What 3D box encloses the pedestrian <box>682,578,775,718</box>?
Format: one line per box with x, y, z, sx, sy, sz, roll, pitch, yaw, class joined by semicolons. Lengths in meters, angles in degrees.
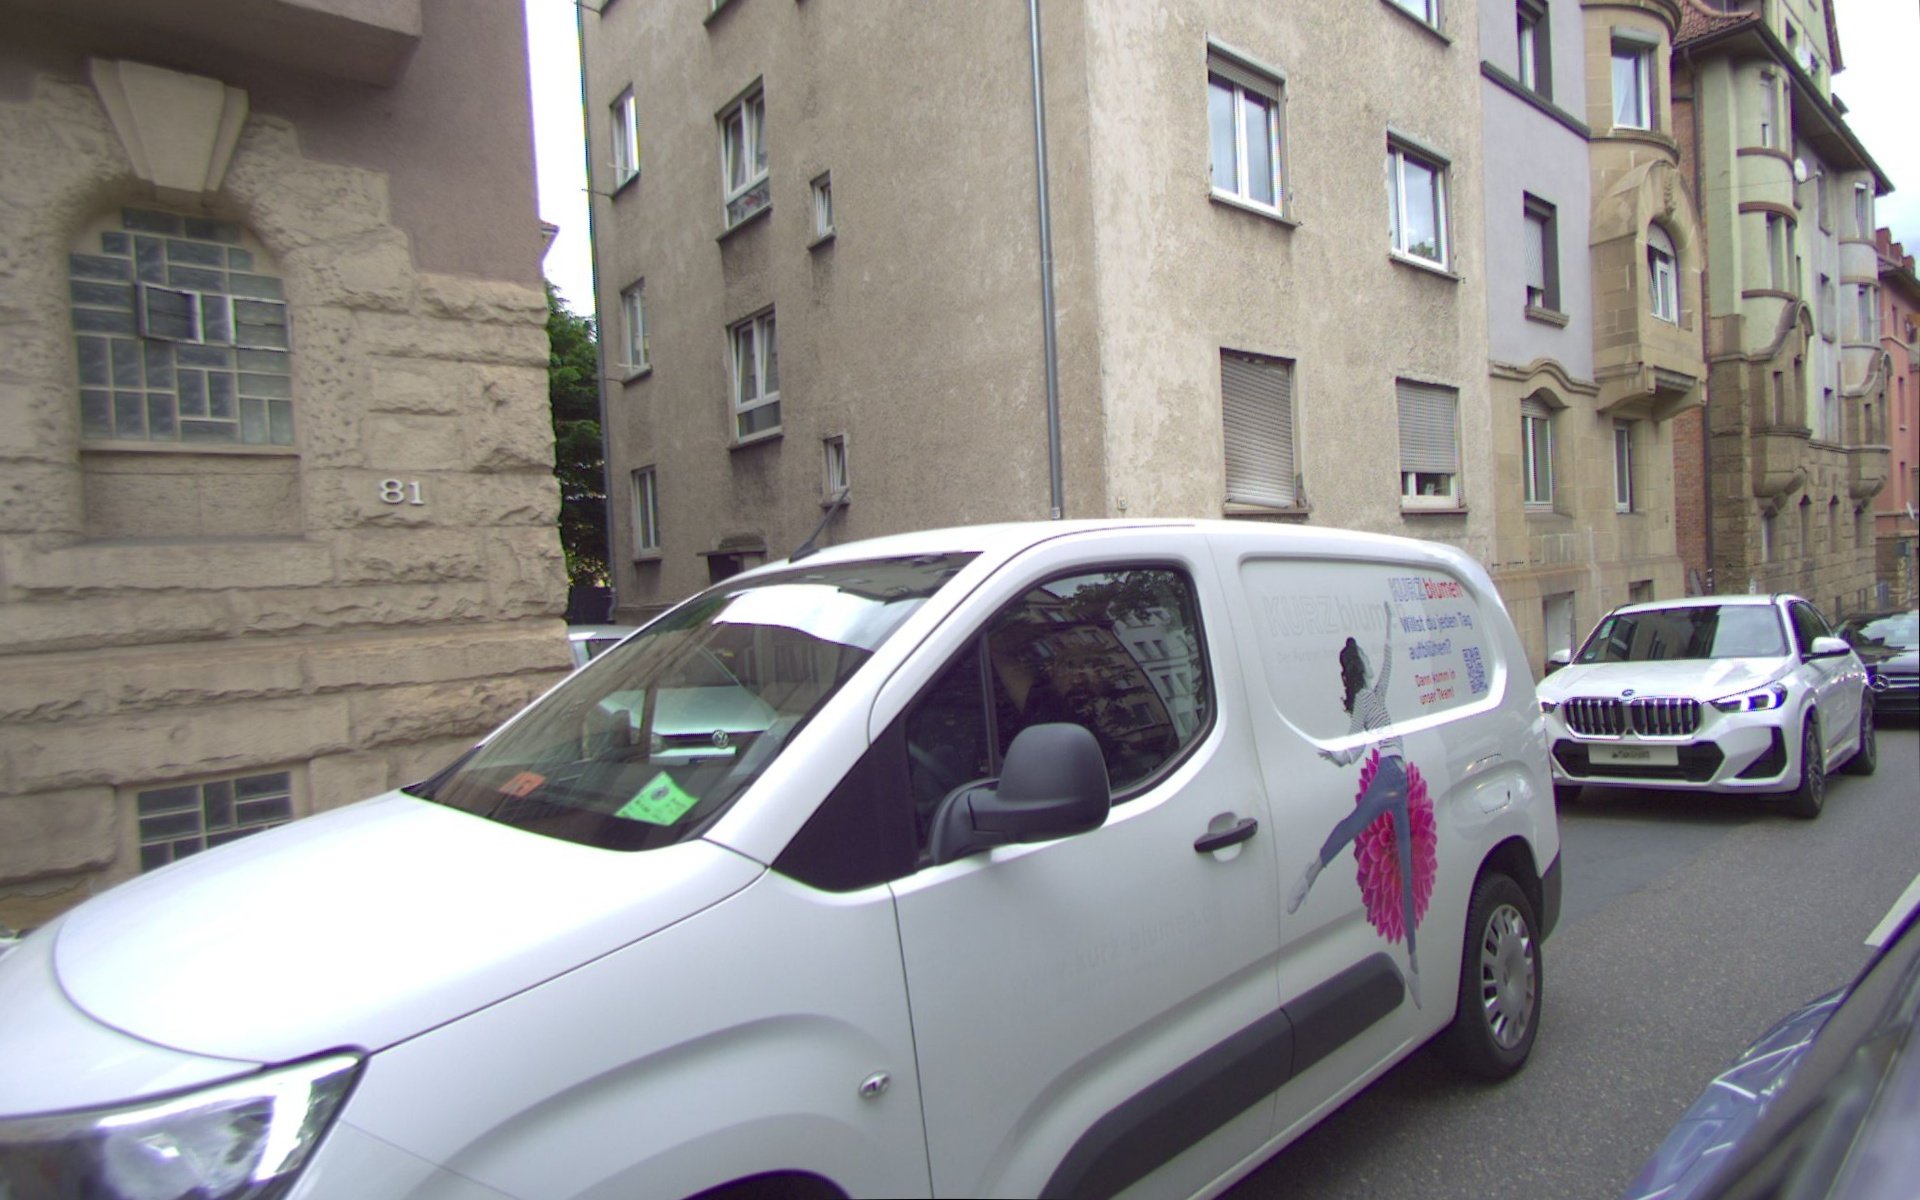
-2.988;0.584;13.078;0.771;1.666;0.810;-7;5;-39;pedestrian

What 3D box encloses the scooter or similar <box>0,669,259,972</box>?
-3.851;0.908;4.305;1.396;1.118;0.528;-1;0;-38;scooter or similar

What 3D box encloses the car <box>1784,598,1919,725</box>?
12.228;0.690;12.913;4.133;1.395;1.882;-1;-3;-41;car

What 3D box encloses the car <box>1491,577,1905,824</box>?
6.407;0.680;8.600;4.276;1.576;1.856;-1;-4;-42;car

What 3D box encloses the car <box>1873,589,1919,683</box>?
17.532;0.523;17.482;4.226;1.534;1.935;-1;-3;-40;car

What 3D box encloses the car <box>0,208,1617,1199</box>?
0.104;0.574;3.070;4.597;1.798;1.977;-1;-3;-42;car
